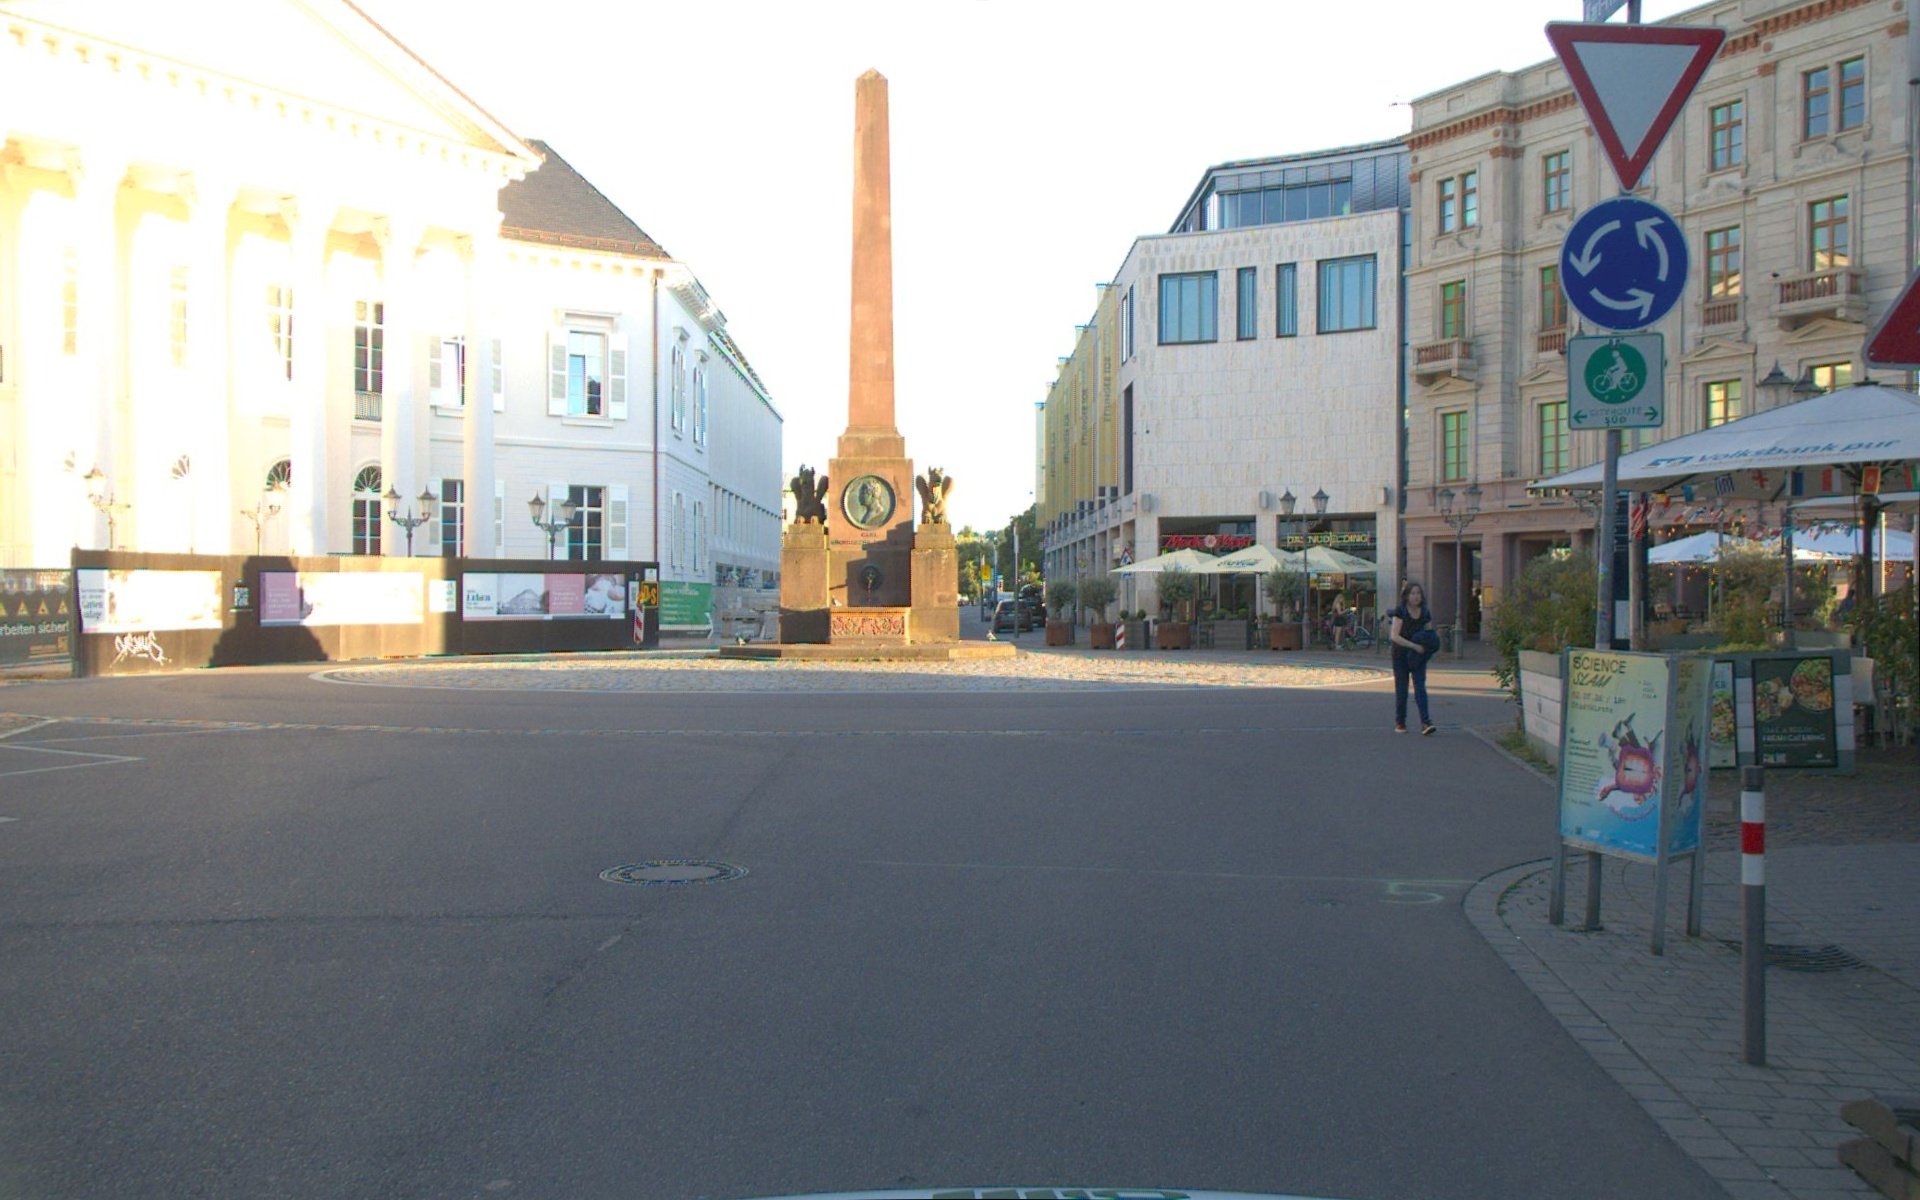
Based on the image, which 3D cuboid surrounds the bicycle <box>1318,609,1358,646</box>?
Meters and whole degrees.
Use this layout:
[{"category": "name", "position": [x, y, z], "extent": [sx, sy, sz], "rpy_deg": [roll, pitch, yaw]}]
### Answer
[{"category": "bicycle", "position": [11.191, 0.811, 48.902], "extent": [0.589, 1.050, 1.640], "rpy_deg": [0, 0, 34]}]

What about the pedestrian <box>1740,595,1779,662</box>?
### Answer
[{"category": "pedestrian", "position": [18.245, 0.650, 37.745], "extent": [0.575, 1.504, 0.684], "rpy_deg": [0, 0, 2]}]

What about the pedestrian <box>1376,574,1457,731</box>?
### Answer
[{"category": "pedestrian", "position": [4.958, 0.555, 17.982], "extent": [0.676, 1.676, 0.695], "rpy_deg": [0, 0, -1]}]

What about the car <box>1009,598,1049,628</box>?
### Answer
[{"category": "car", "position": [3.536, 0.654, 84.985], "extent": [1.952, 1.489, 4.000], "rpy_deg": [0, 0, 1]}]

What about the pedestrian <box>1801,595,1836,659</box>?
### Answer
[{"category": "pedestrian", "position": [20.473, 0.638, 39.442], "extent": [0.577, 1.504, 0.625], "rpy_deg": [0, 0, 11]}]

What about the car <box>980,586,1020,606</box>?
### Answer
[{"category": "car", "position": [4.239, -0.418, 176.025], "extent": [3.920, 2.049, 1.992], "rpy_deg": [0, 0, 36]}]

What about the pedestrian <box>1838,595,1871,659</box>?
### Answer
[{"category": "pedestrian", "position": [21.303, 0.634, 39.394], "extent": [0.532, 1.504, 0.625], "rpy_deg": [0, 0, 11]}]

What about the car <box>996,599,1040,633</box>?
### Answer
[{"category": "car", "position": [2.655, 0.715, 76.503], "extent": [1.952, 1.489, 4.000], "rpy_deg": [0, 0, 1]}]

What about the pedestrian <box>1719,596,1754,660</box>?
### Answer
[{"category": "pedestrian", "position": [18.191, 0.650, 38.766], "extent": [0.532, 1.504, 0.624], "rpy_deg": [0, 0, 1]}]

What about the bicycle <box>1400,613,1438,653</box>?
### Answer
[{"category": "bicycle", "position": [12.497, 0.894, 44.999], "extent": [0.498, 1.050, 1.640], "rpy_deg": [0, 0, 34]}]

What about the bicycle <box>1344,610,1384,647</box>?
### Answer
[{"category": "bicycle", "position": [11.854, 0.837, 48.476], "extent": [0.608, 1.050, 1.640], "rpy_deg": [0, 0, 34]}]

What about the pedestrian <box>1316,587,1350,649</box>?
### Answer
[{"category": "pedestrian", "position": [10.715, 0.502, 47.513], "extent": [0.885, 1.759, 0.850], "rpy_deg": [0, 0, 8]}]
